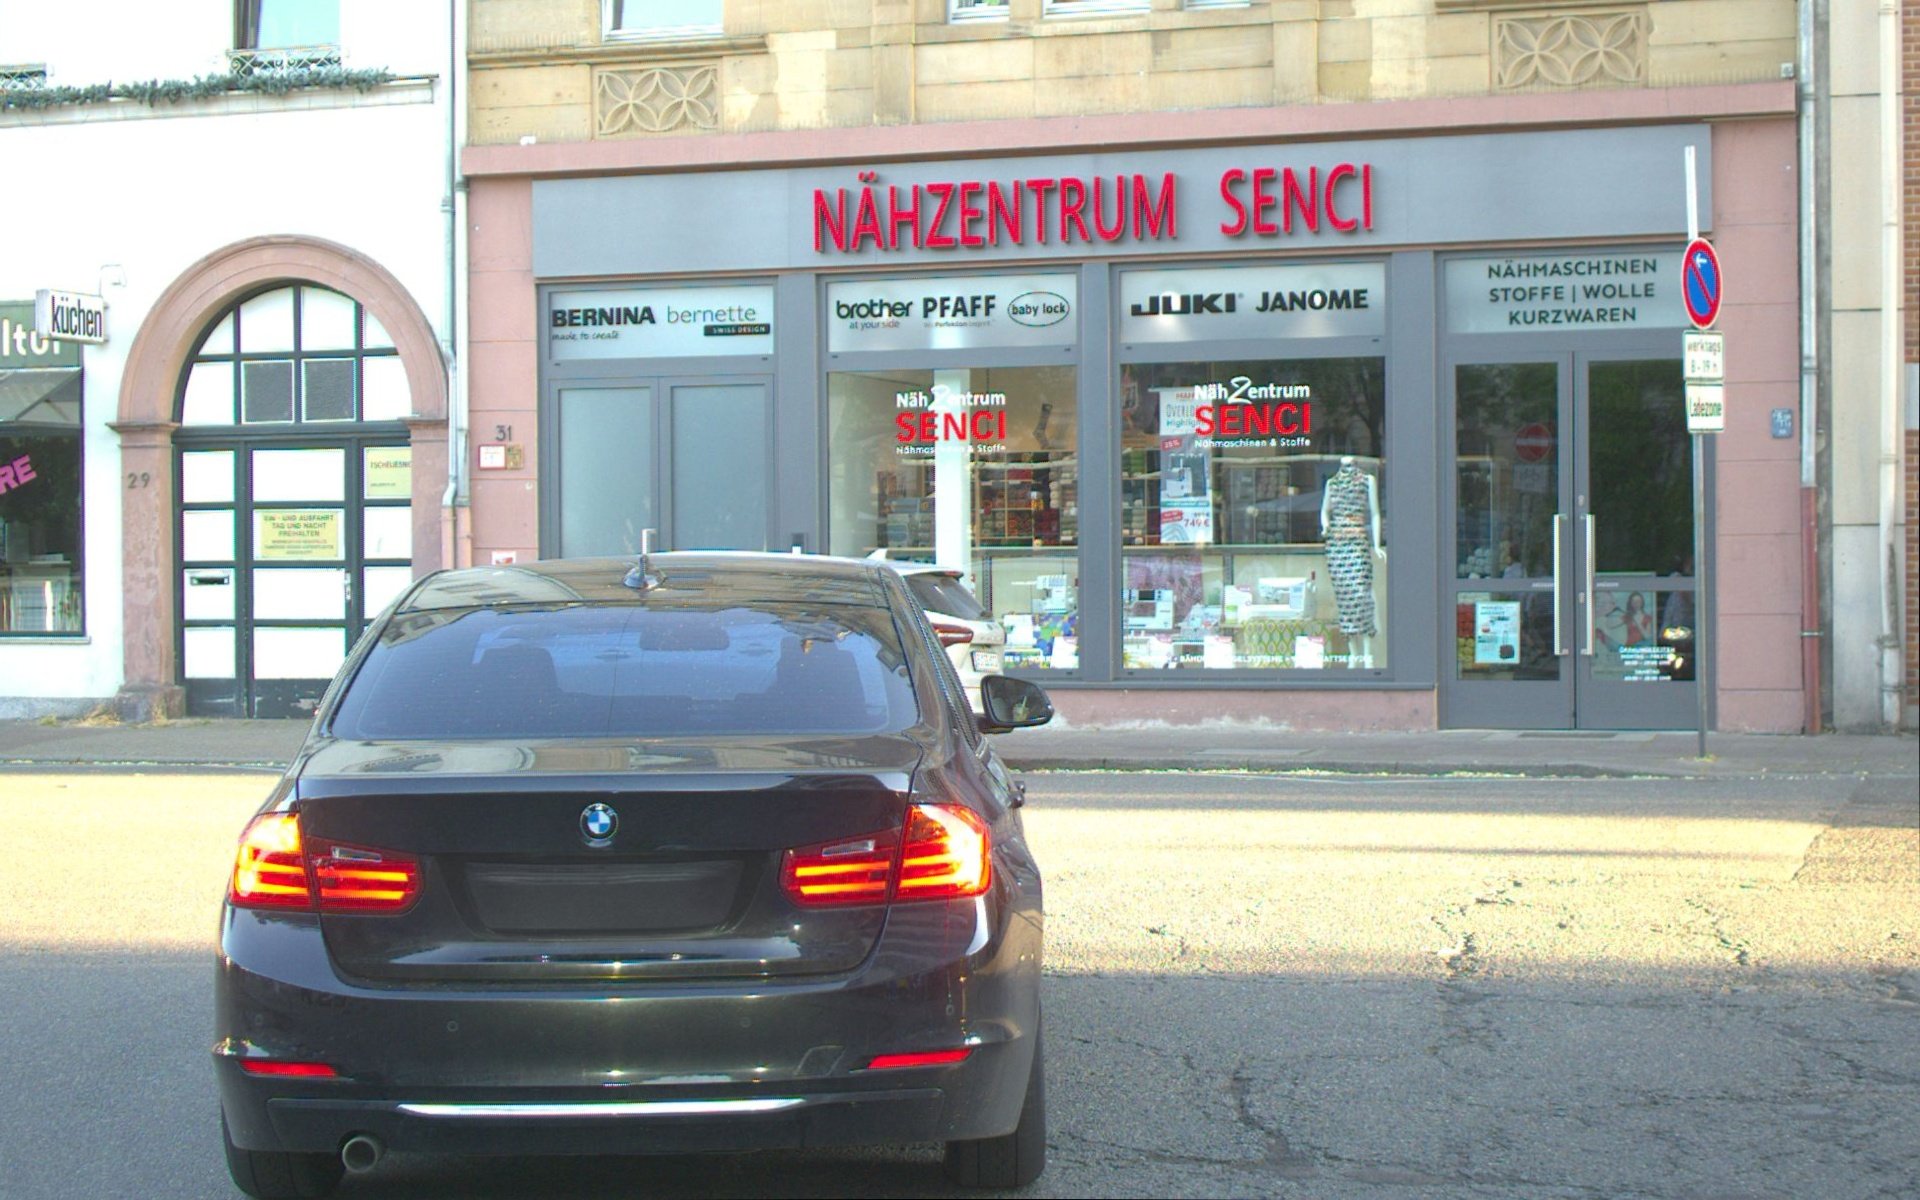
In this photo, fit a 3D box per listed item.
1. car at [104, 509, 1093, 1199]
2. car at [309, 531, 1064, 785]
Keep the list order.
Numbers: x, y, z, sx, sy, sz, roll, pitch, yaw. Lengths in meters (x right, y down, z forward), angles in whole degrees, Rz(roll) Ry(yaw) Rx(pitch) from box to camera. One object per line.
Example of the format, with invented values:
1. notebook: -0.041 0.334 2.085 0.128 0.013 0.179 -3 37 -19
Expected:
1. car: -0.670 0.574 8.669 1.888 1.487 4.204 0 0 1
2. car: -1.824 0.345 23.268 4.670 1.530 1.998 1 1 18
